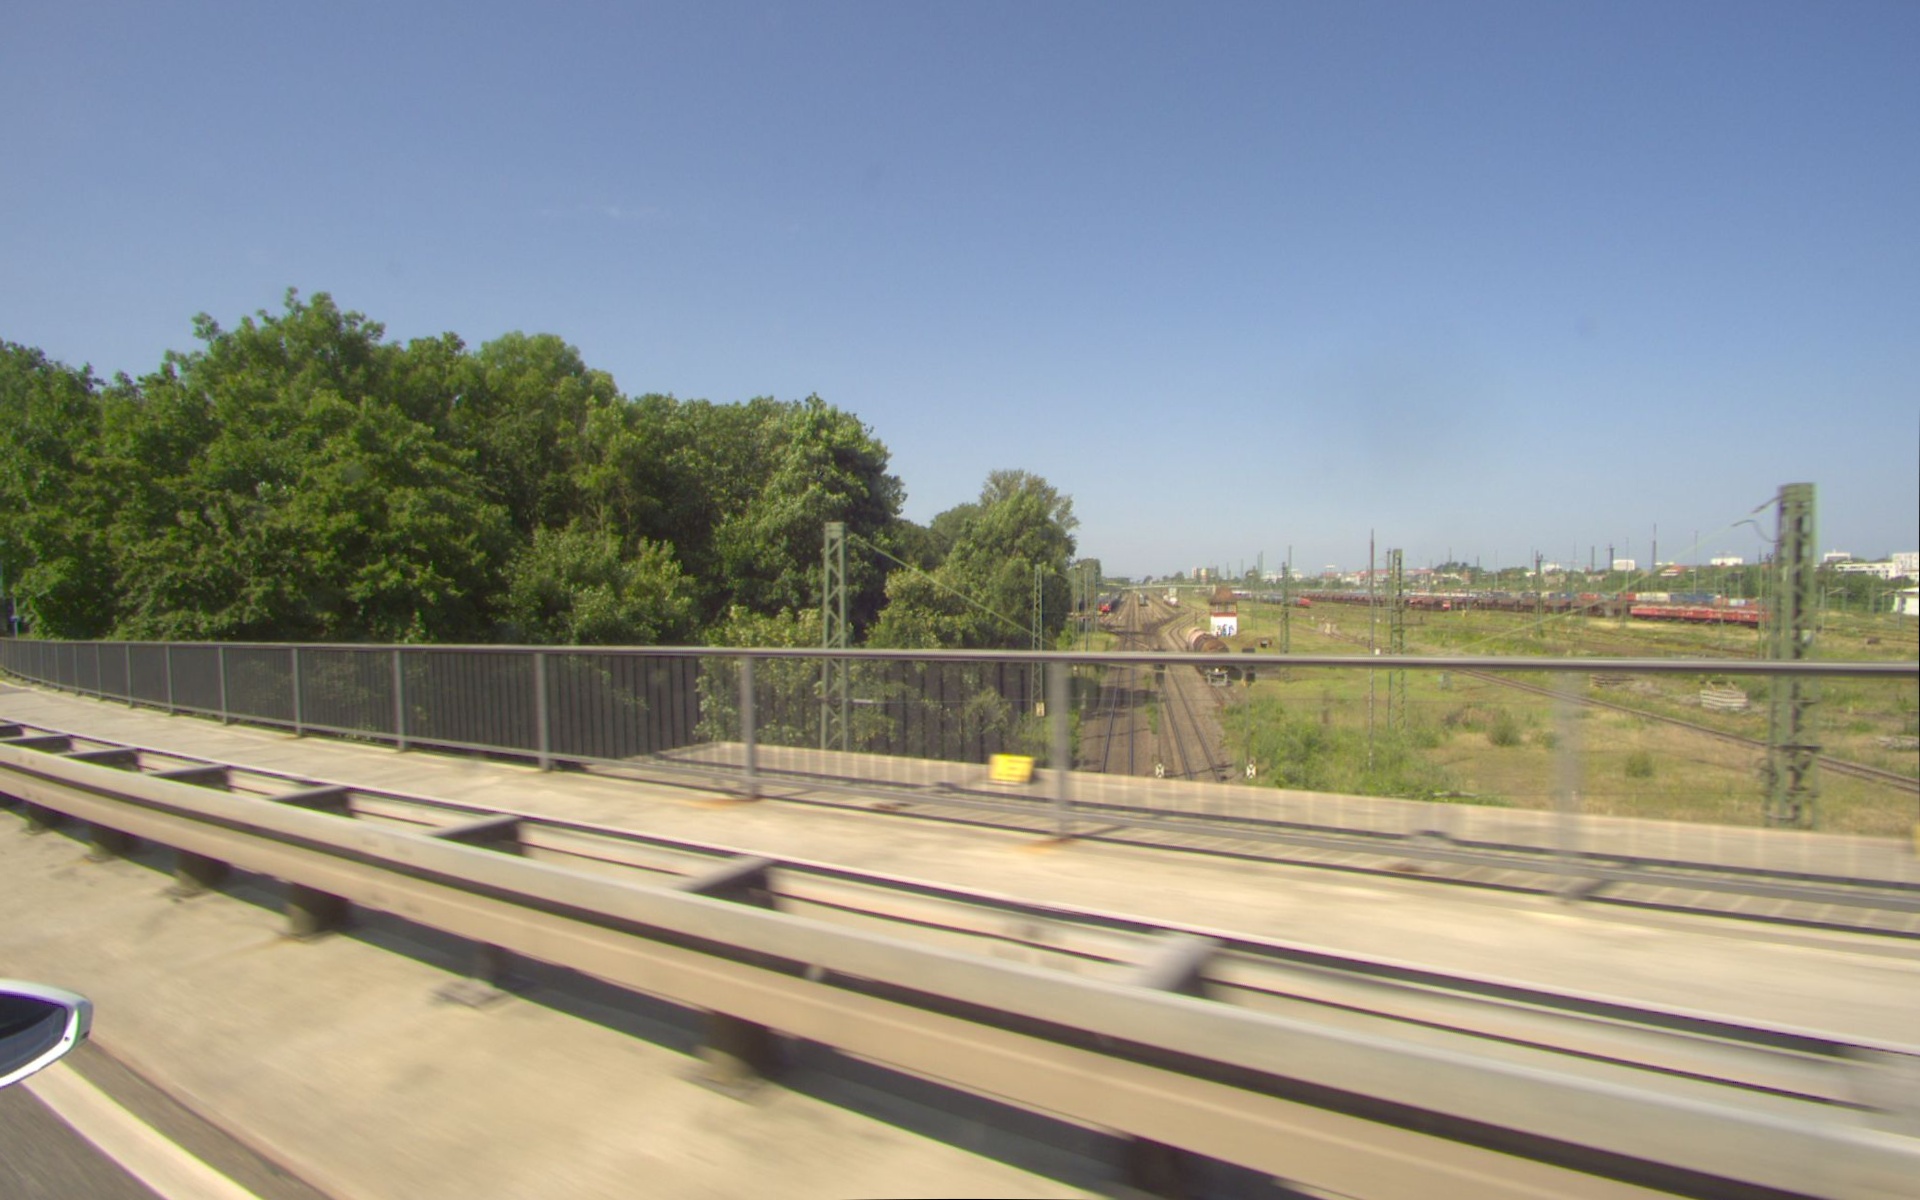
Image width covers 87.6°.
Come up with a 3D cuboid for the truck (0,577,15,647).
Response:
[{"bbox_3d":[-53.307,0.541,53.128,3.230,3.805,8.316,3,-3,-35],"label":"truck"}]
